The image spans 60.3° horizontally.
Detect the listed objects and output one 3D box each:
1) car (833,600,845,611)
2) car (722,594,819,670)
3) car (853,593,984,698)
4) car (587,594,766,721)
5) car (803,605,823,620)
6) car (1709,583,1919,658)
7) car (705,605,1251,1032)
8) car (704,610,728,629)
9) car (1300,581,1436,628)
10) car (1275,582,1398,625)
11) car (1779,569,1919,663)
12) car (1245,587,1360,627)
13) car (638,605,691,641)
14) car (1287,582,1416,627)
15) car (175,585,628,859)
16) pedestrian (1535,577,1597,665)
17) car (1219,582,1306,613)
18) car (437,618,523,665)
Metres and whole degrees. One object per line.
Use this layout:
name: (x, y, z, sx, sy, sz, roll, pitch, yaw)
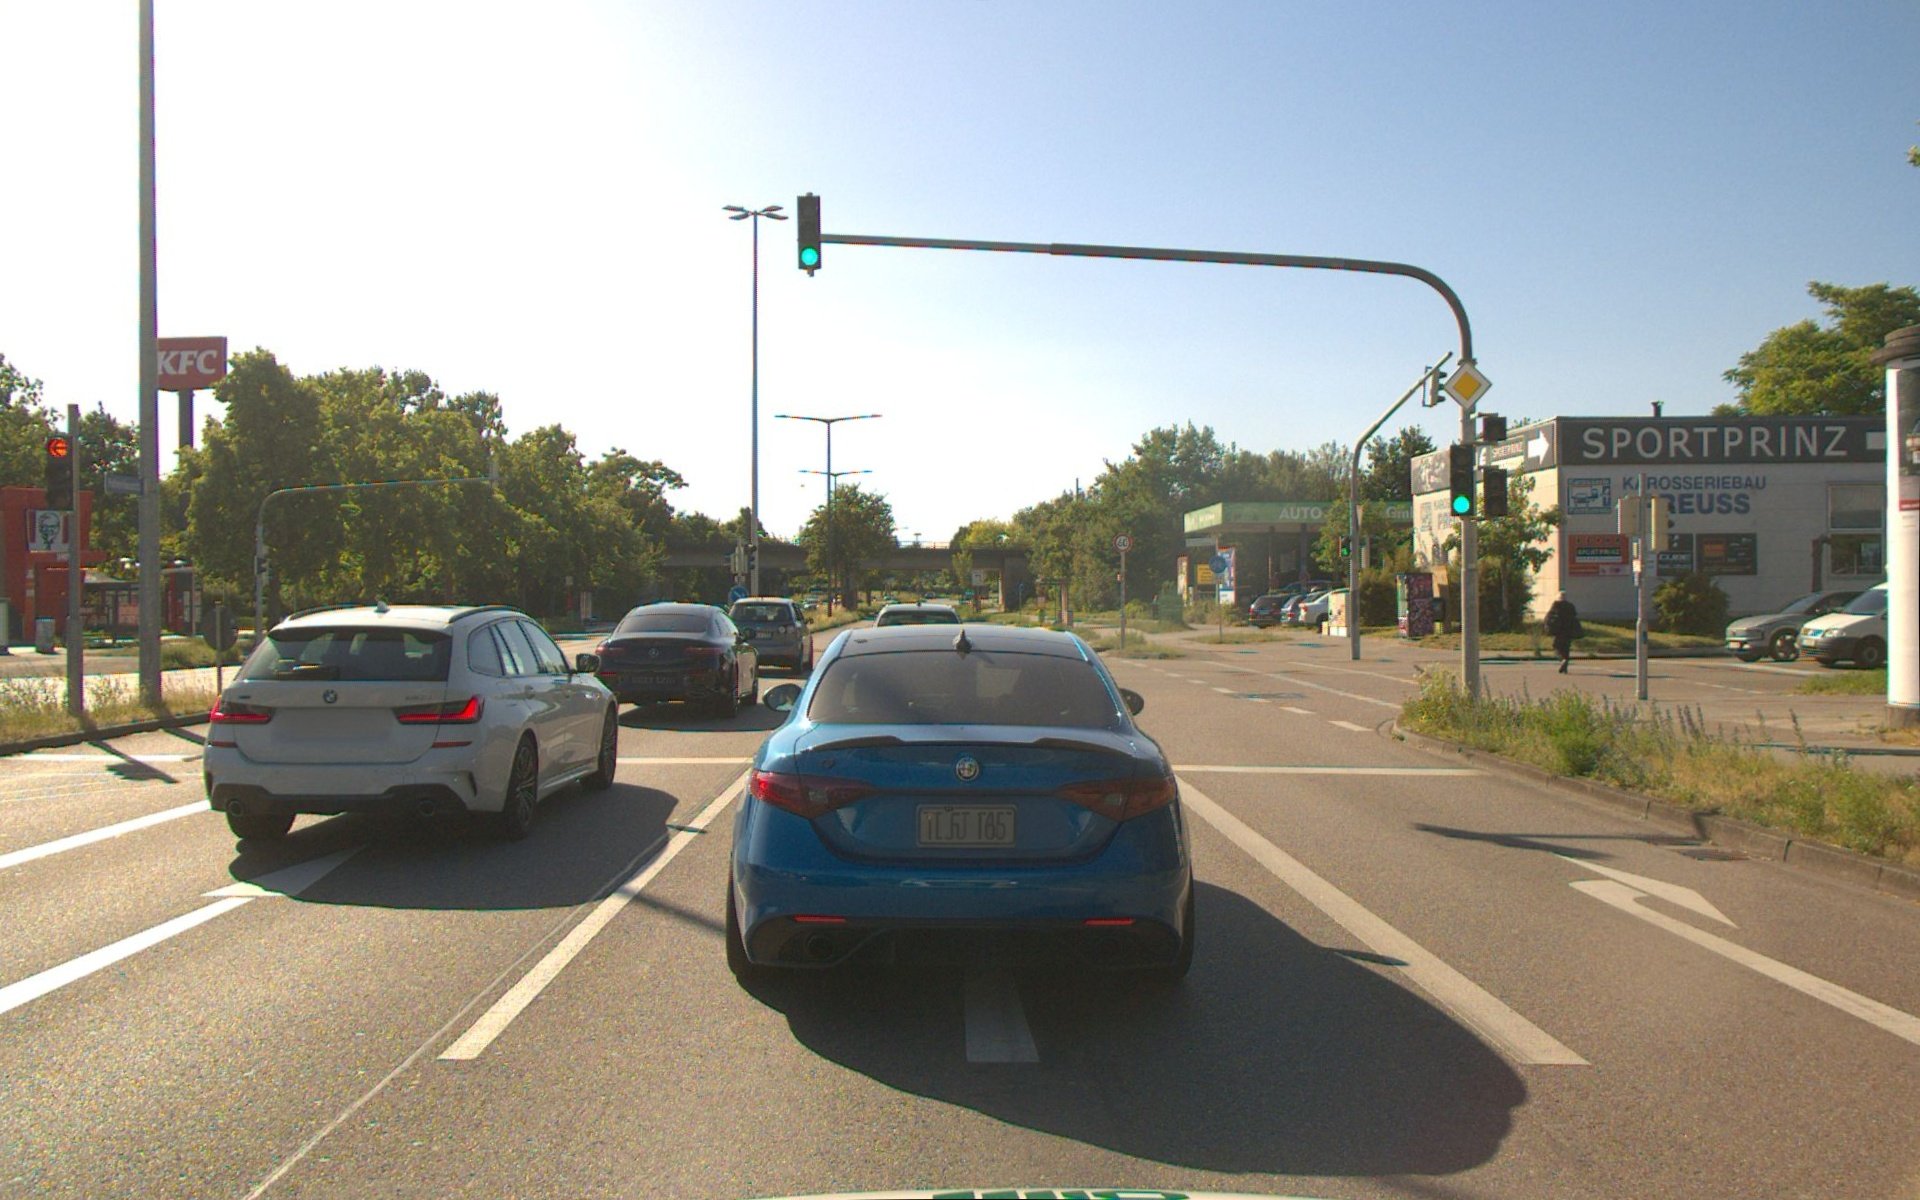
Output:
car: (-18.406, 0.888, 252.141, 1.539, 1.646, 3.999, 1, -1, -1)
car: (-4.047, 0.683, 35.895, 1.723, 1.516, 4.401, 1, -1, -2)
car: (-0.654, 0.659, 25.329, 1.813, 1.443, 4.401, 1, -1, -2)
car: (-3.712, 0.722, 22.388, 1.760, 1.516, 4.473, 1, -1, -2)
car: (-15.837, 1.341, 178.489, 1.723, 1.516, 4.477, -2, 0, -1)
car: (19.628, 0.447, 37.852, 4.201, 1.576, 1.764, -1, 1, -2)
car: (-0.003, 0.780, 7.887, 1.857, 1.443, 4.401, 1, -1, -2)
car: (-20.650, 1.636, 140.254, 1.583, 1.587, 3.356, 1, -1, -1)
car: (14.624, 0.167, 59.394, 4.397, 1.479, 1.858, -2, 0, 1)
car: (14.790, 0.148, 65.122, 4.397, 1.479, 1.858, -2, 0, 1)
car: (19.663, 0.286, 34.518, 4.294, 1.833, 1.764, -1, 1, -2)
car: (14.219, 0.284, 68.866, 4.397, 1.479, 1.858, -2, 0, 1)
car: (-13.283, 1.016, 74.521, 1.723, 1.516, 3.836, -2, 0, -1)
car: (14.652, 0.174, 62.090, 4.397, 1.479, 1.858, -2, 0, 1)
car: (-3.576, 0.712, 11.499, 1.749, 1.516, 4.401, 1, -1, -2)
pedestrian: (12.382, 0.428, 33.830, 0.906, 1.766, 0.938, 1, -1, -1)
car: (16.828, -0.122, 92.103, 4.457, 1.516, 1.765, -2, -1, 1)
car: (-16.822, 1.419, 58.135, 1.723, 1.516, 4.477, -2, 0, -1)
